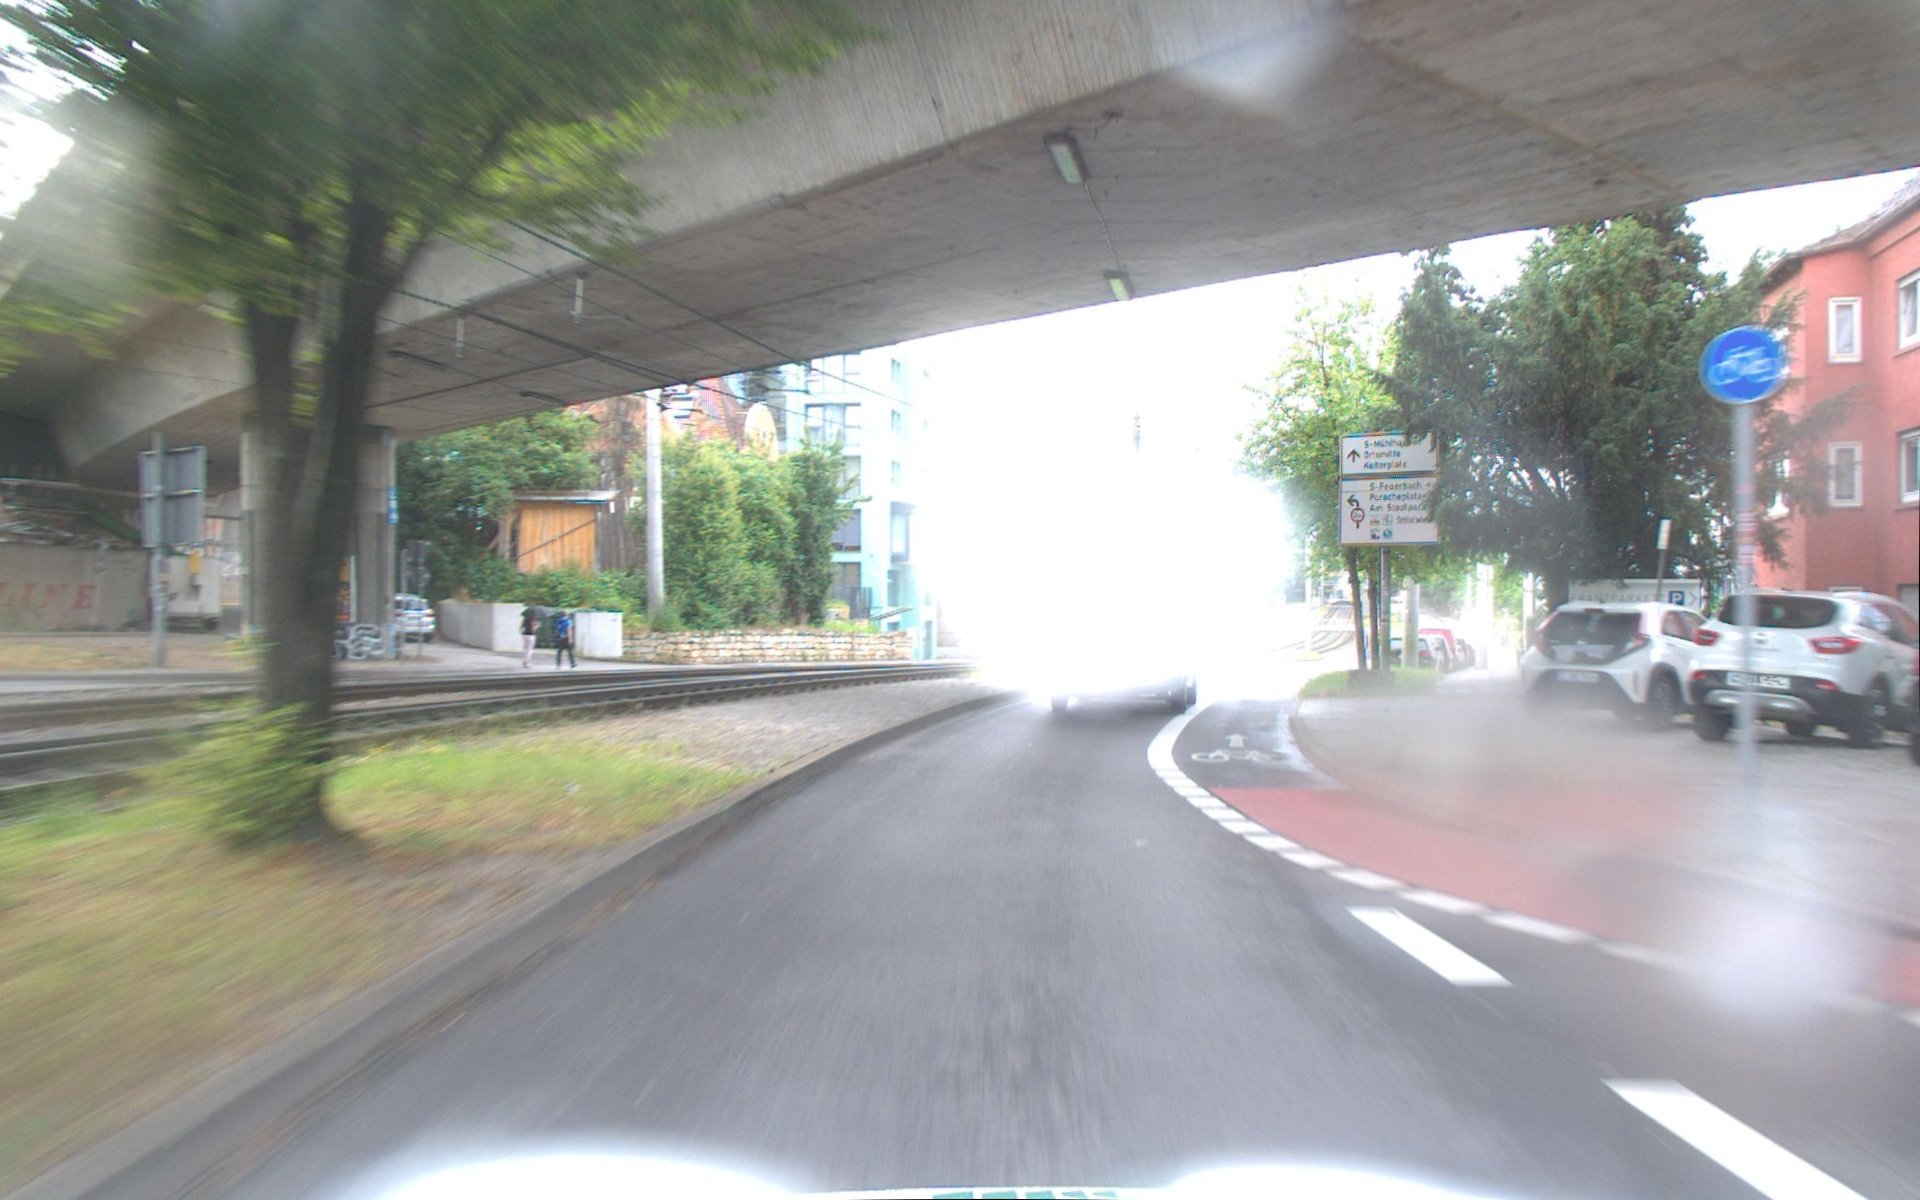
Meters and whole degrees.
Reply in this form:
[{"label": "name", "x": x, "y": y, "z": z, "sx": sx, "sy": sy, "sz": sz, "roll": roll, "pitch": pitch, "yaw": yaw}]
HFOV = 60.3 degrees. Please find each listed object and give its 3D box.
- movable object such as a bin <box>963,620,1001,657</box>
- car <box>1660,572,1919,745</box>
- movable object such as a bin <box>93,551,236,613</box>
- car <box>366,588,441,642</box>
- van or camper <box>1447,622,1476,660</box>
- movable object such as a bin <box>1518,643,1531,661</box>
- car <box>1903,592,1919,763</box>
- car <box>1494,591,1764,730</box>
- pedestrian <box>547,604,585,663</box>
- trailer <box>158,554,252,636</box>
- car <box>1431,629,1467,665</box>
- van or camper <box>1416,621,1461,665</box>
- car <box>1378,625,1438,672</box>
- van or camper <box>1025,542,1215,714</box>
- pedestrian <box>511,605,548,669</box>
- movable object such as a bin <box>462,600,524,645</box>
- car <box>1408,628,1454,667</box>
[{"label": "movable object such as a bin", "x": 1.422, "y": 2.458, "z": 106.371, "sx": 2.088, "sy": 2.194, "sz": 1.804, "roll": 2, "pitch": 0, "yaw": 9}, {"label": "car", "x": 9.397, "y": 0.580, "z": 17.964, "sx": 3.993, "sy": 1.659, "sz": 1.935, "roll": 1, "pitch": 0, "yaw": -44}, {"label": "movable object such as a bin", "x": -34.469, "y": -0.730, "z": 71.877, "sx": 2.571, "sy": 2.496, "sz": 5.465, "roll": 2, "pitch": 0, "yaw": 15}, {"label": "car", "x": -19.878, "y": 0.512, "z": 59.072, "sx": 1.699, "sy": 1.696, "sz": 3.161, "roll": 3, "pitch": 1, "yaw": -34}, {"label": "van or camper", "x": 36.840, "y": 2.959, "z": 121.498, "sx": 1.952, "sy": 2.608, "sz": 6.046, "roll": 2, "pitch": 0, "yaw": 17}, {"label": "movable object such as a bin", "x": 28.264, "y": 2.601, "z": 82.787, "sx": 0.574, "sy": 0.895, "sz": 0.448, "roll": 0, "pitch": -2, "yaw": 17}, {"label": "car", "x": 10.194, "y": 0.713, "z": 15.072, "sx": 4.019, "sy": 1.464, "sz": 1.758, "roll": 1, "pitch": 0, "yaw": -45}, {"label": "car", "x": 8.334, "y": 0.701, "z": 20.466, "sx": 3.708, "sy": 1.548, "sz": 1.773, "roll": 1, "pitch": 0, "yaw": -44}, {"label": "pedestrian", "x": -11.628, "y": 0.973, "z": 48.811, "sx": 0.679, "sy": 1.699, "sz": 0.888, "roll": 1, "pitch": 0, "yaw": 20}, {"label": "trailer", "x": -26.642, "y": -0.173, "z": 58.282, "sx": 1.981, "sy": 2.773, "sz": 4.064, "roll": 2, "pitch": -1, "yaw": -40}, {"label": "car", "x": 26.861, "y": 2.551, "z": 90.838, "sx": 1.801, "sy": 1.832, "sz": 4.688, "roll": 2, "pitch": -1, "yaw": 17}, {"label": "van or camper", "x": 21.925, "y": 1.967, "z": 75.706, "sx": 1.812, "sy": 1.954, "sz": 4.996, "roll": 0, "pitch": -2, "yaw": 18}, {"label": "car", "x": 14.933, "y": 1.625, "z": 55.044, "sx": 1.642, "sy": 1.448, "sz": 4.566, "roll": 1, "pitch": -1, "yaw": 19}, {"label": "van or camper", "x": 2.549, "y": 0.434, "z": 25.175, "sx": 2.152, "sy": 2.292, "sz": 4.687, "roll": 2, "pitch": -1, "yaw": 14}, {"label": "pedestrian", "x": -12.696, "y": 1.075, "z": 48.806, "sx": 0.679, "sy": 1.863, "sz": 0.867, "roll": 1, "pitch": 0, "yaw": 17}, {"label": "movable object such as a bin", "x": -16.624, "y": 0.807, "z": 58.859, "sx": 1.545, "sy": 1.505, "sz": 1.778, "roll": 2, "pitch": 1, "yaw": -38}, {"label": "car", "x": 18.628, "y": 1.900, "z": 65.330, "sx": 1.545, "sy": 1.477, "sz": 3.720, "roll": 0, "pitch": -3, "yaw": 19}]
